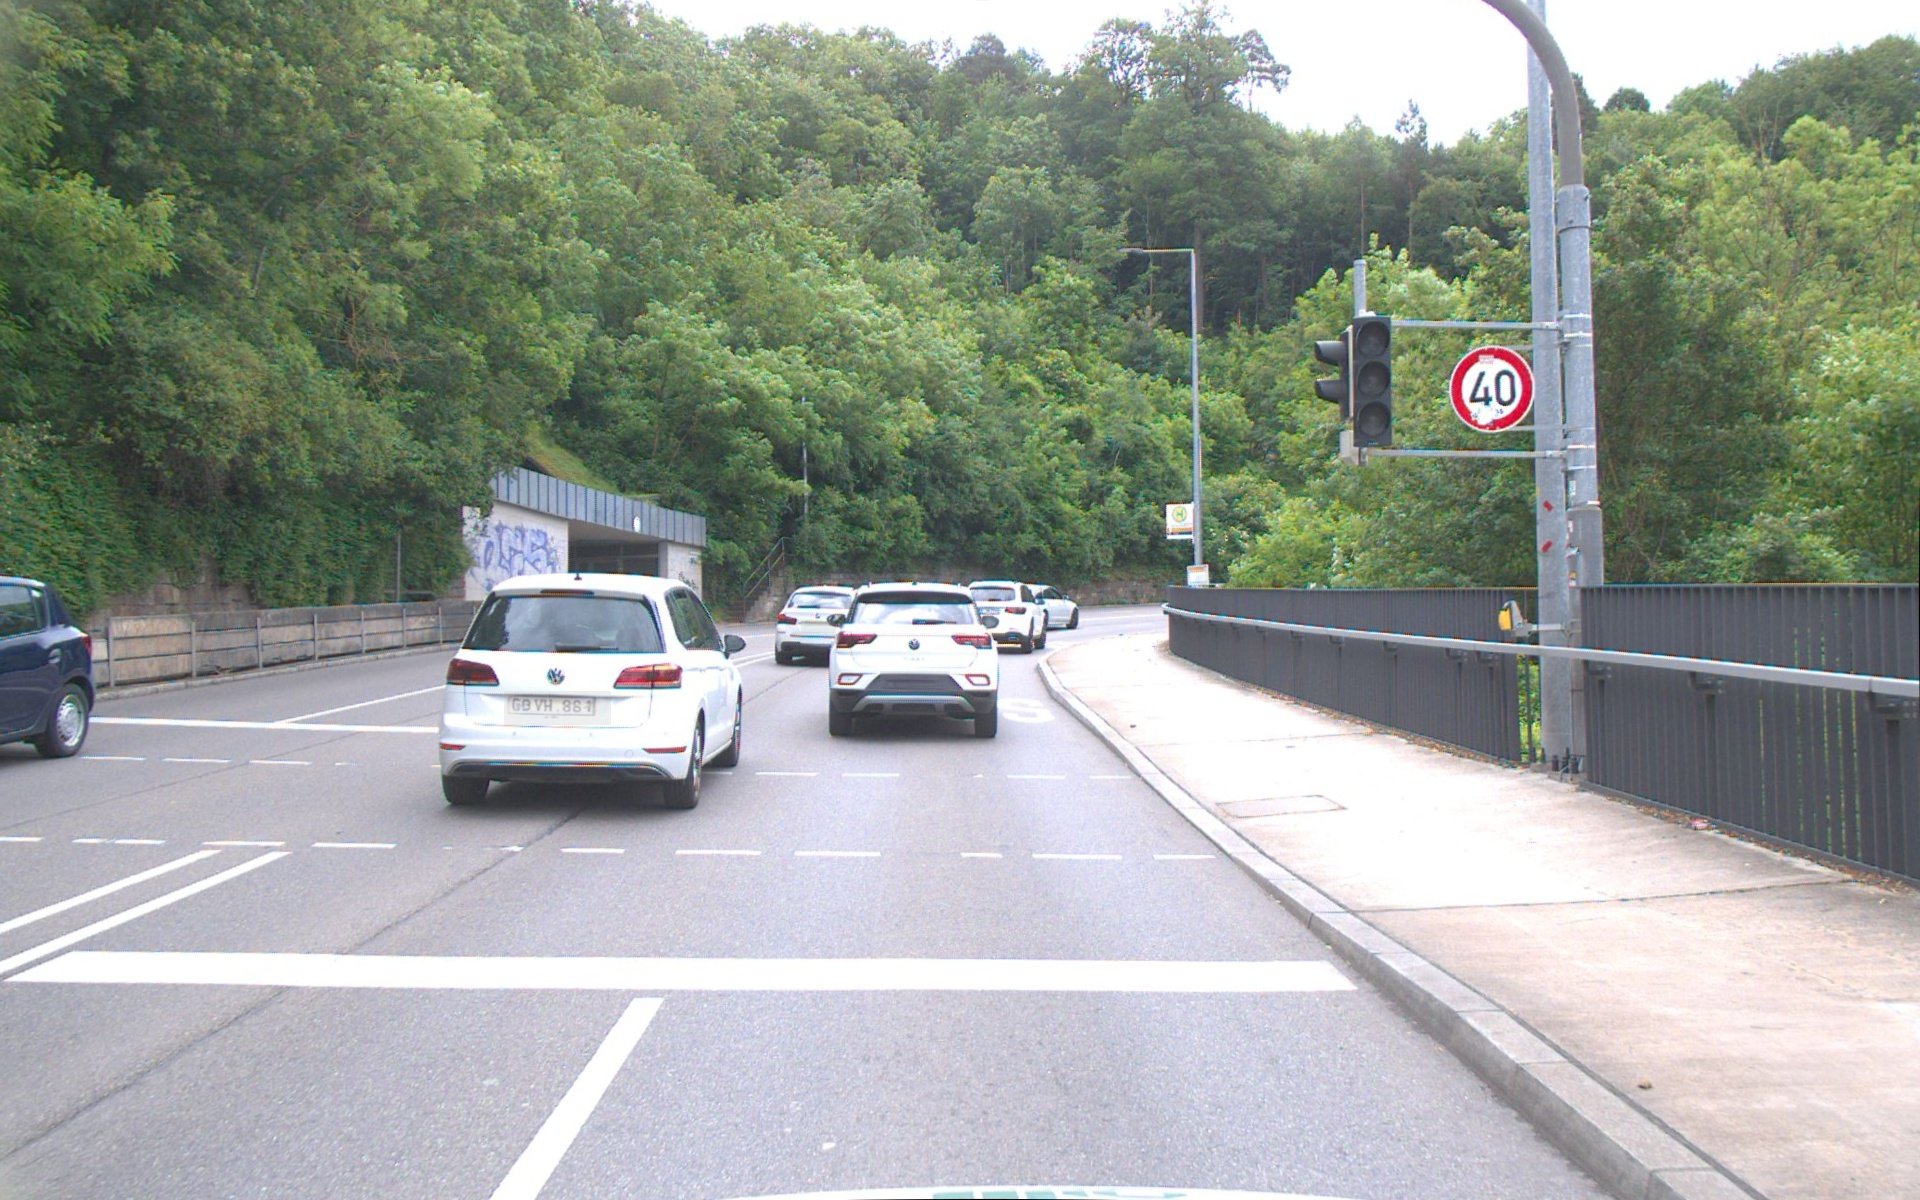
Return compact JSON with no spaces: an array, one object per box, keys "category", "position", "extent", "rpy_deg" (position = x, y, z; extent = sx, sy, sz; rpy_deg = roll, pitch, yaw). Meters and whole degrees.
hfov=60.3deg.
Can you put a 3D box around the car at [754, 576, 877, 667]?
[{"category":"car","position":[-2.726,0.369,32.202],"extent":[1.953,1.585,4.681],"rpy_deg":[1,0,0]}]

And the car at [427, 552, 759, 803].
[{"category":"car","position":[-2.593,0.480,12.658],"extent":[1.685,1.581,4.274],"rpy_deg":[1,0,-2]}]

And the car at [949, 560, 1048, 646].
[{"category":"car","position":[0.991,0.077,39.742],"extent":[1.951,1.875,4.153],"rpy_deg":[2,0,6]}]

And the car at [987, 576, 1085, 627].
[{"category":"car","position":[2.551,0.075,54.517],"extent":[1.706,1.545,4.306],"rpy_deg":[2,0,24]}]

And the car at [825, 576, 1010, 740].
[{"category":"car","position":[-0.440,0.580,18.174],"extent":[1.777,1.566,4.007],"rpy_deg":[-1,0,-1]}]

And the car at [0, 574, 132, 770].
[{"category":"car","position":[-8.041,0.511,12.171],"extent":[1.776,1.459,4.247],"rpy_deg":[2,0,-1]}]
